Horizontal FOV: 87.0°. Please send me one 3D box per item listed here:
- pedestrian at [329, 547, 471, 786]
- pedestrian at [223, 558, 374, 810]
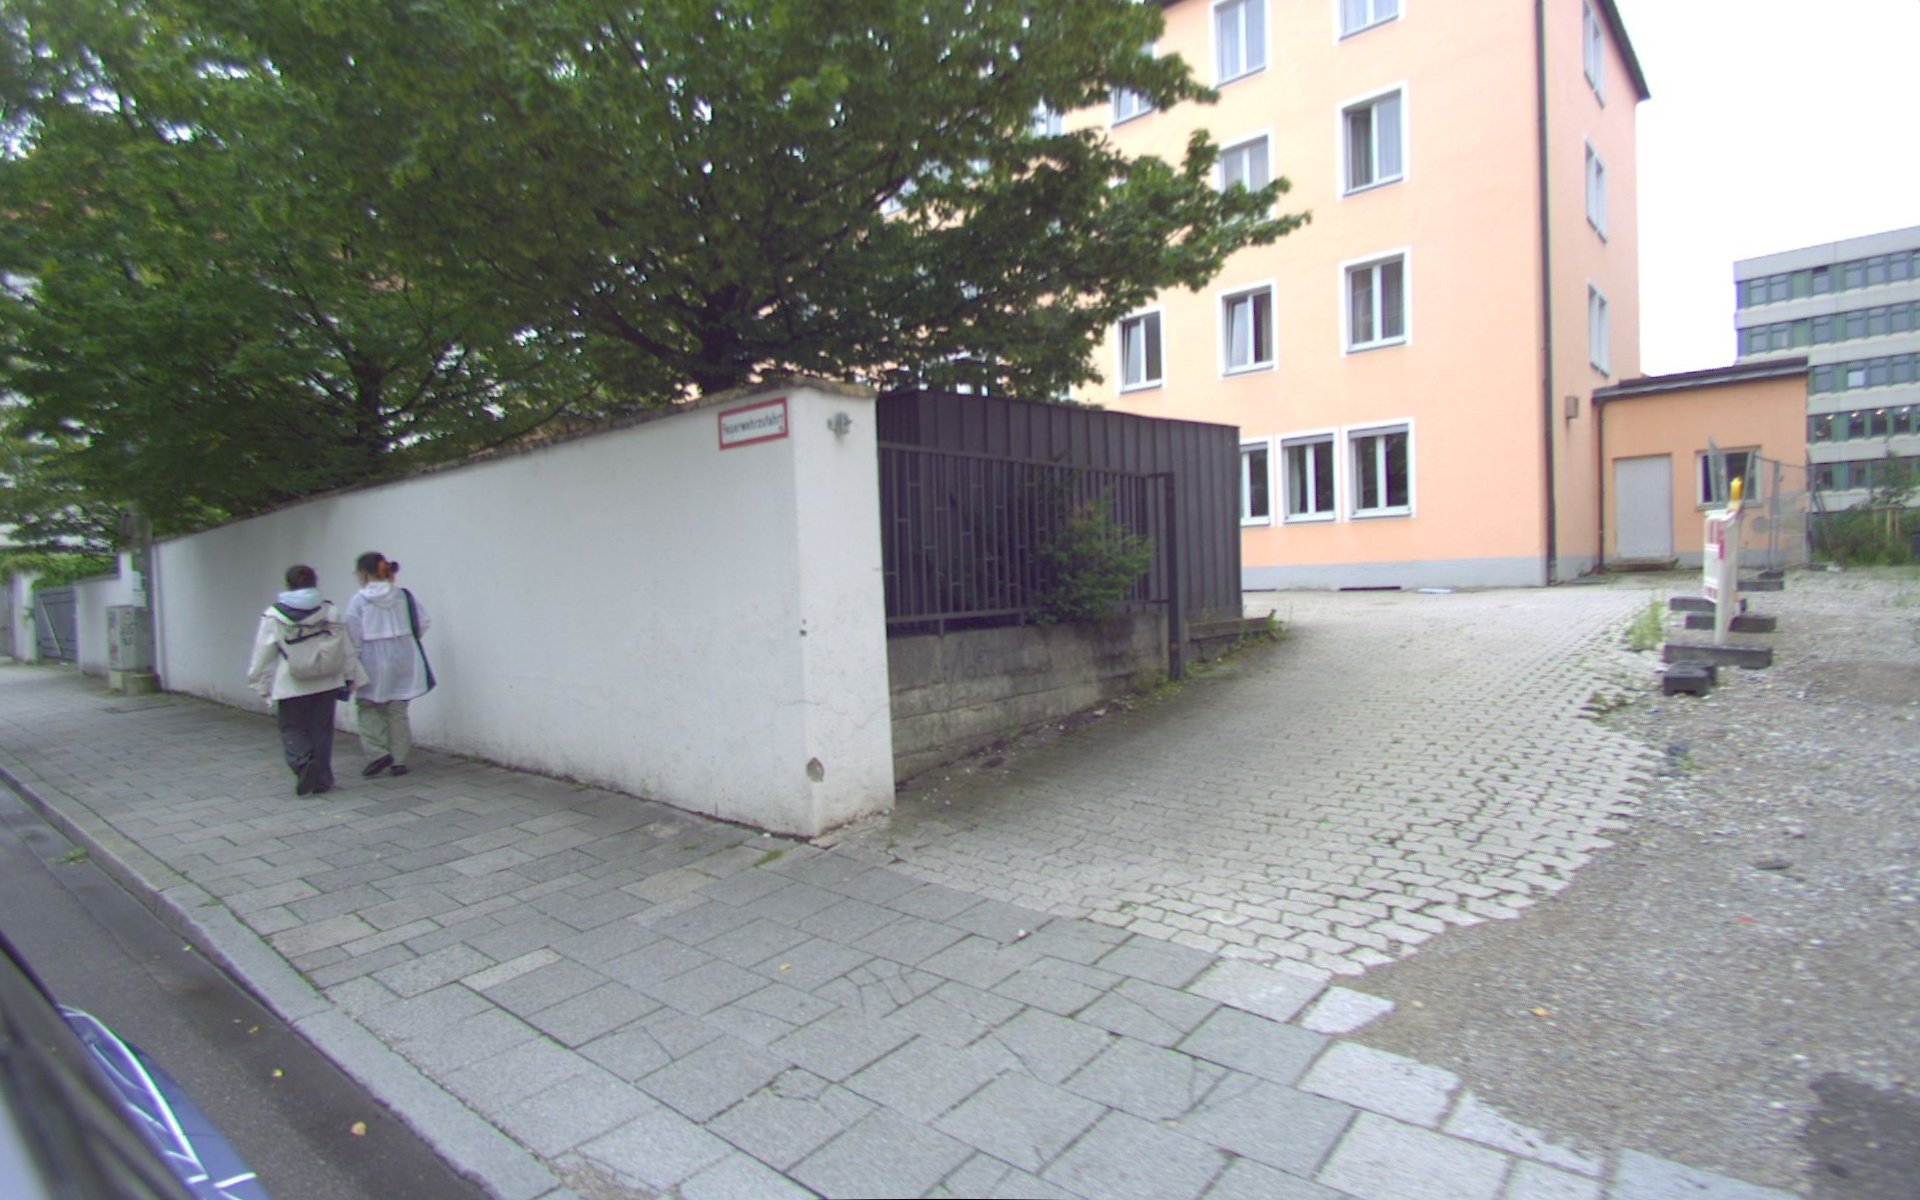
[{"bbox_3d":[-4.106,0.455,7.423,0.687,1.633,0.607,-1,4,41],"label":"pedestrian"},{"bbox_3d":[-4.502,0.530,6.890,0.713,1.590,0.616,-1,2,41],"label":"pedestrian"}]
